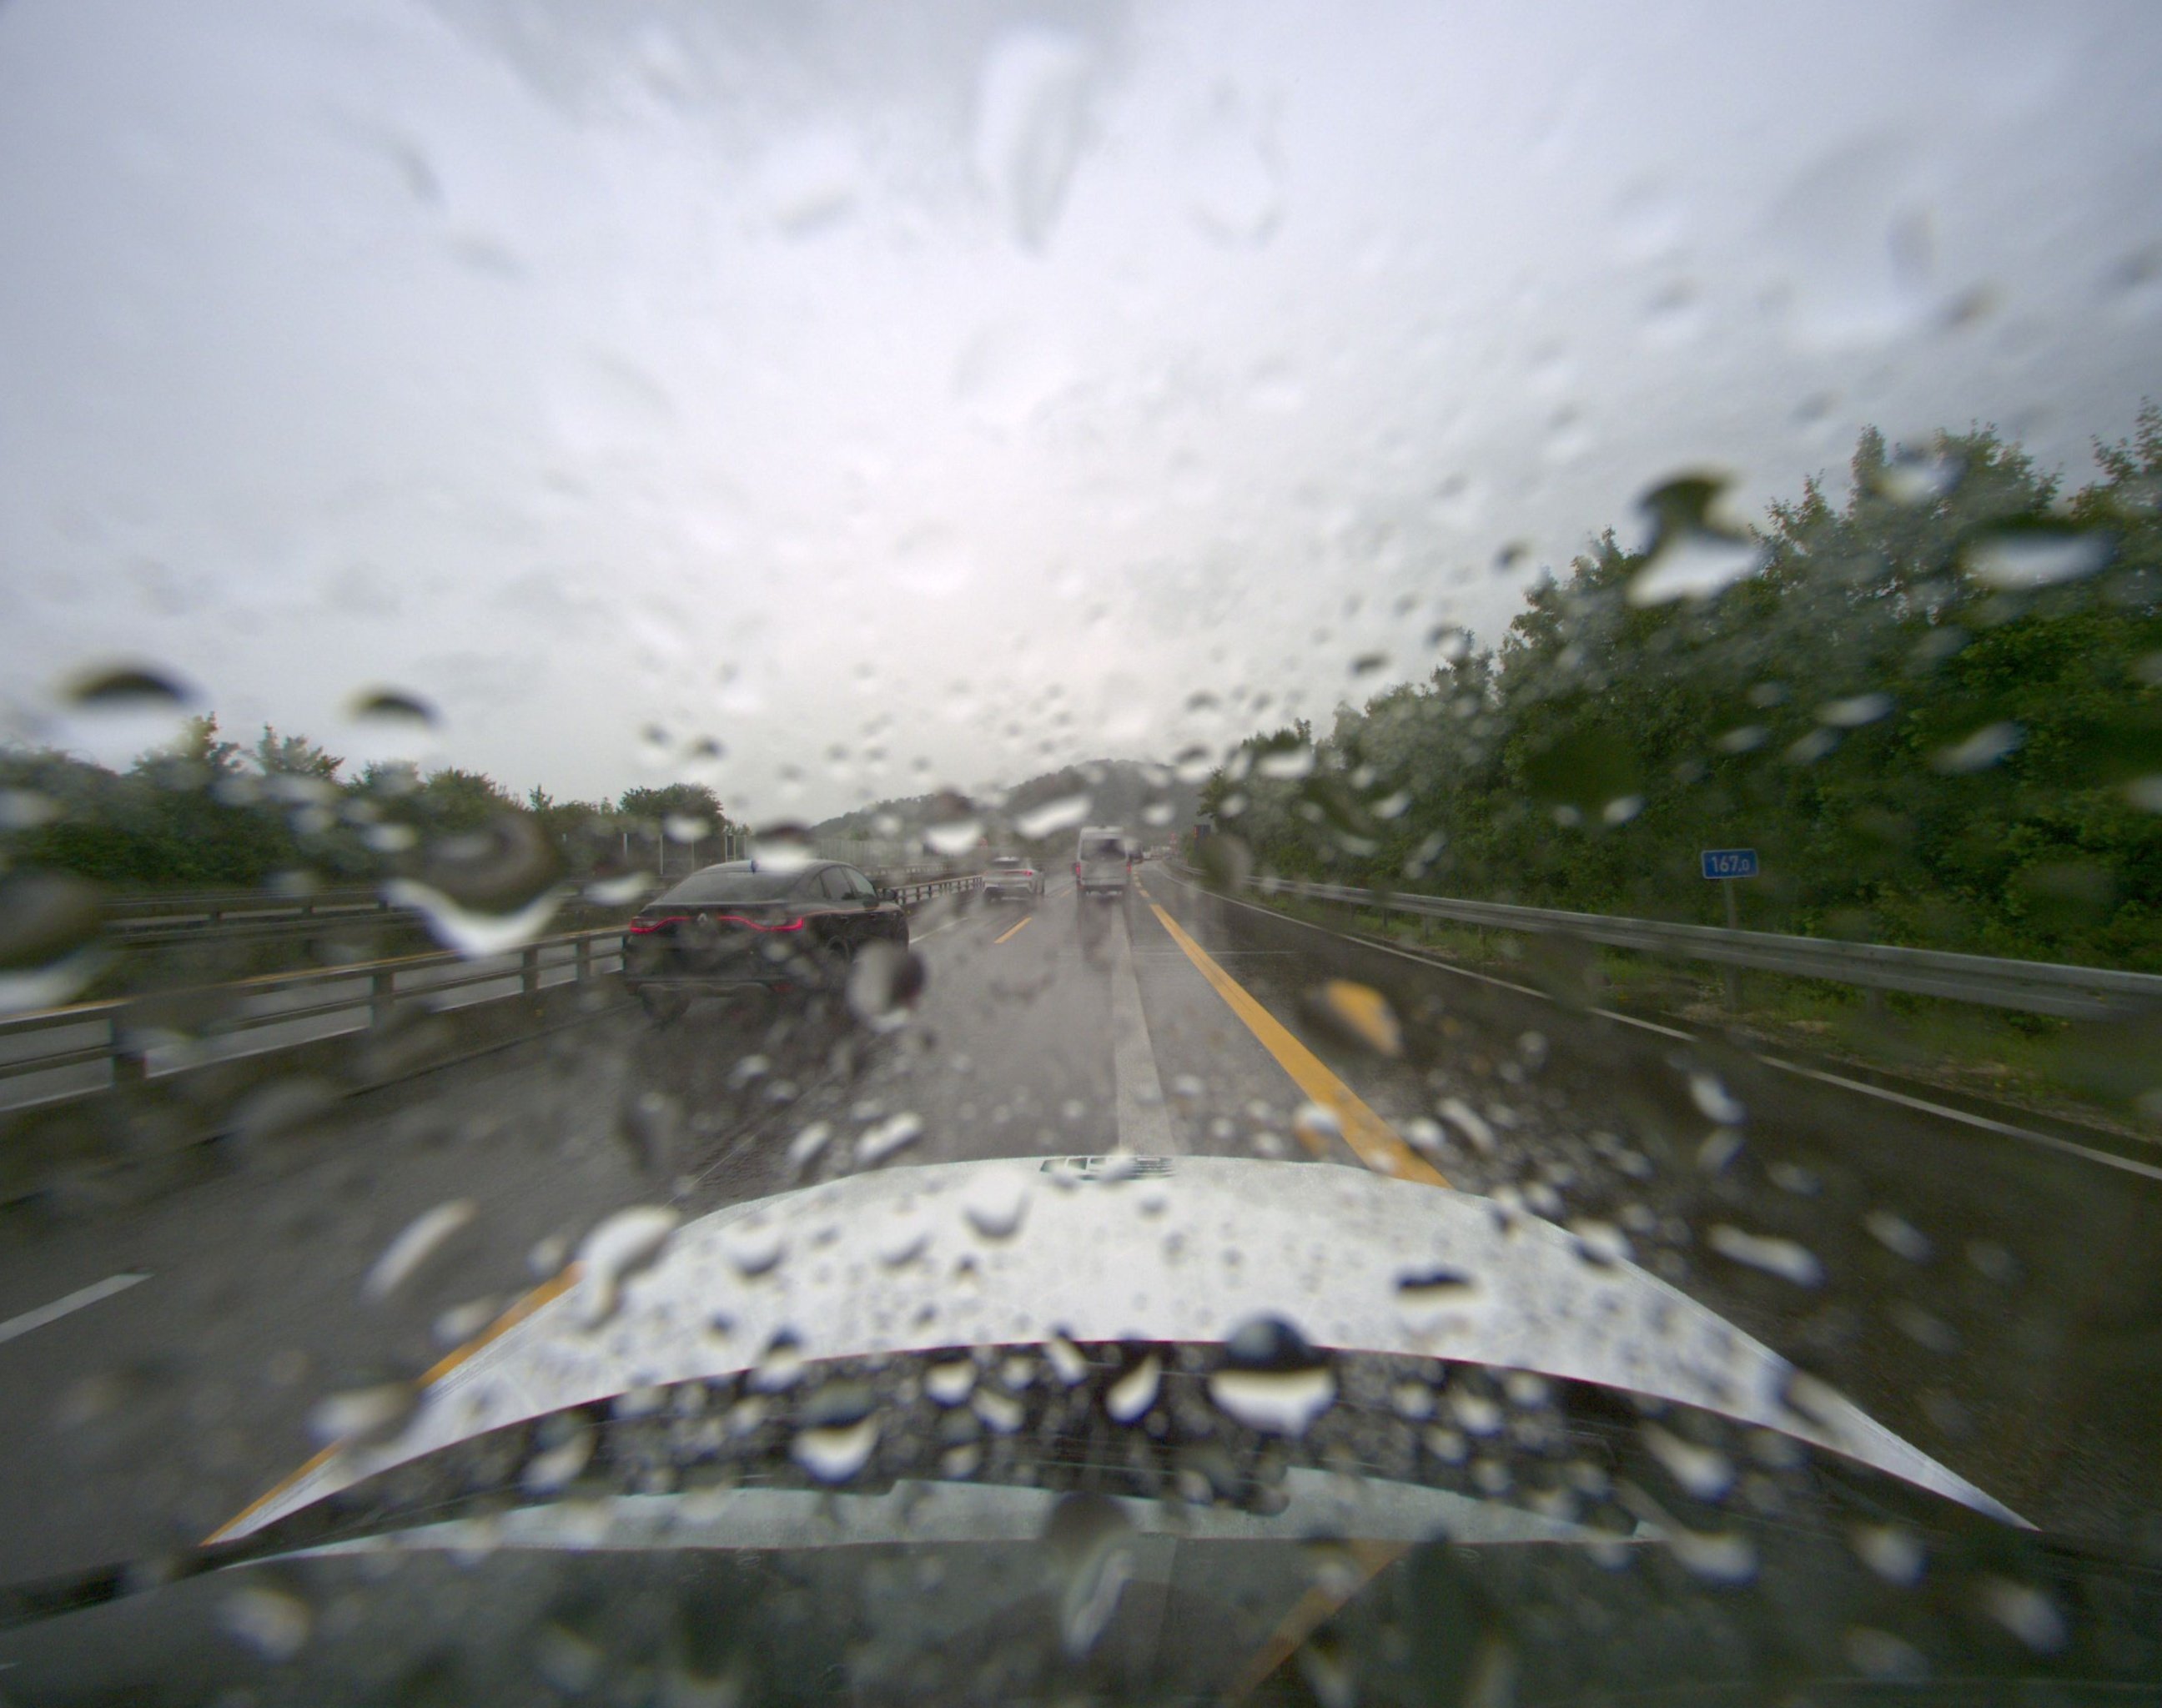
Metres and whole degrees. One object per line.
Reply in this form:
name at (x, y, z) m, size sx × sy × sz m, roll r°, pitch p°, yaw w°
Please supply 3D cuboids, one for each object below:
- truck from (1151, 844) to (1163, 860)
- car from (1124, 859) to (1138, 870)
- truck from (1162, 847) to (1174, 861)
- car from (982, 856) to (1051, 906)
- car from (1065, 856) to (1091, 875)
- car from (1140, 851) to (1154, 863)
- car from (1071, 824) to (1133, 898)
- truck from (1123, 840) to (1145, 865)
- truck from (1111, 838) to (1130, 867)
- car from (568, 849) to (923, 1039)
truck at (21.699, -0.639, 231.328) m, size 3.019 × 4.406 × 9.644 m, roll 0°, pitch -1°, yaw 8°
car at (6.731, 1.435, 109.727) m, size 1.765 × 1.475 × 4.006 m, roll 0°, pitch -1°, yaw 5°
truck at (28.197, -0.092, 263.743) m, size 2.879 × 4.406 × 9.653 m, roll 0°, pitch -1°, yaw 11°
car at (-2.197, 0.906, 28.988) m, size 1.986 × 1.617 × 4.797 m, roll 0°, pitch -1°, yaw 1°
car at (-0.212, 0.997, 71.147) m, size 1.938 × 1.561 × 4.004 m, roll 0°, pitch -1°, yaw 4°
car at (15.948, 0.691, 195.796) m, size 2.881 × 2.887 × 6.427 m, roll 0°, pitch -1°, yaw 9°
car at (0.754, 0.268, 30.911) m, size 2.137 × 2.571 × 5.389 m, roll 0°, pitch -1°, yaw 1°
truck at (9.852, -0.282, 149.934) m, size 3.563 × 4.406 × 9.639 m, roll 0°, pitch -1°, yaw 6°
truck at (4.408, -0.106, 89.979) m, size 1.985 × 3.109 × 8.506 m, roll 0°, pitch -1°, yaw 4°
car at (-3.224, 0.771, 9.004) m, size 1.986 × 1.585 × 4.415 m, roll 0°, pitch -1°, yaw 1°
